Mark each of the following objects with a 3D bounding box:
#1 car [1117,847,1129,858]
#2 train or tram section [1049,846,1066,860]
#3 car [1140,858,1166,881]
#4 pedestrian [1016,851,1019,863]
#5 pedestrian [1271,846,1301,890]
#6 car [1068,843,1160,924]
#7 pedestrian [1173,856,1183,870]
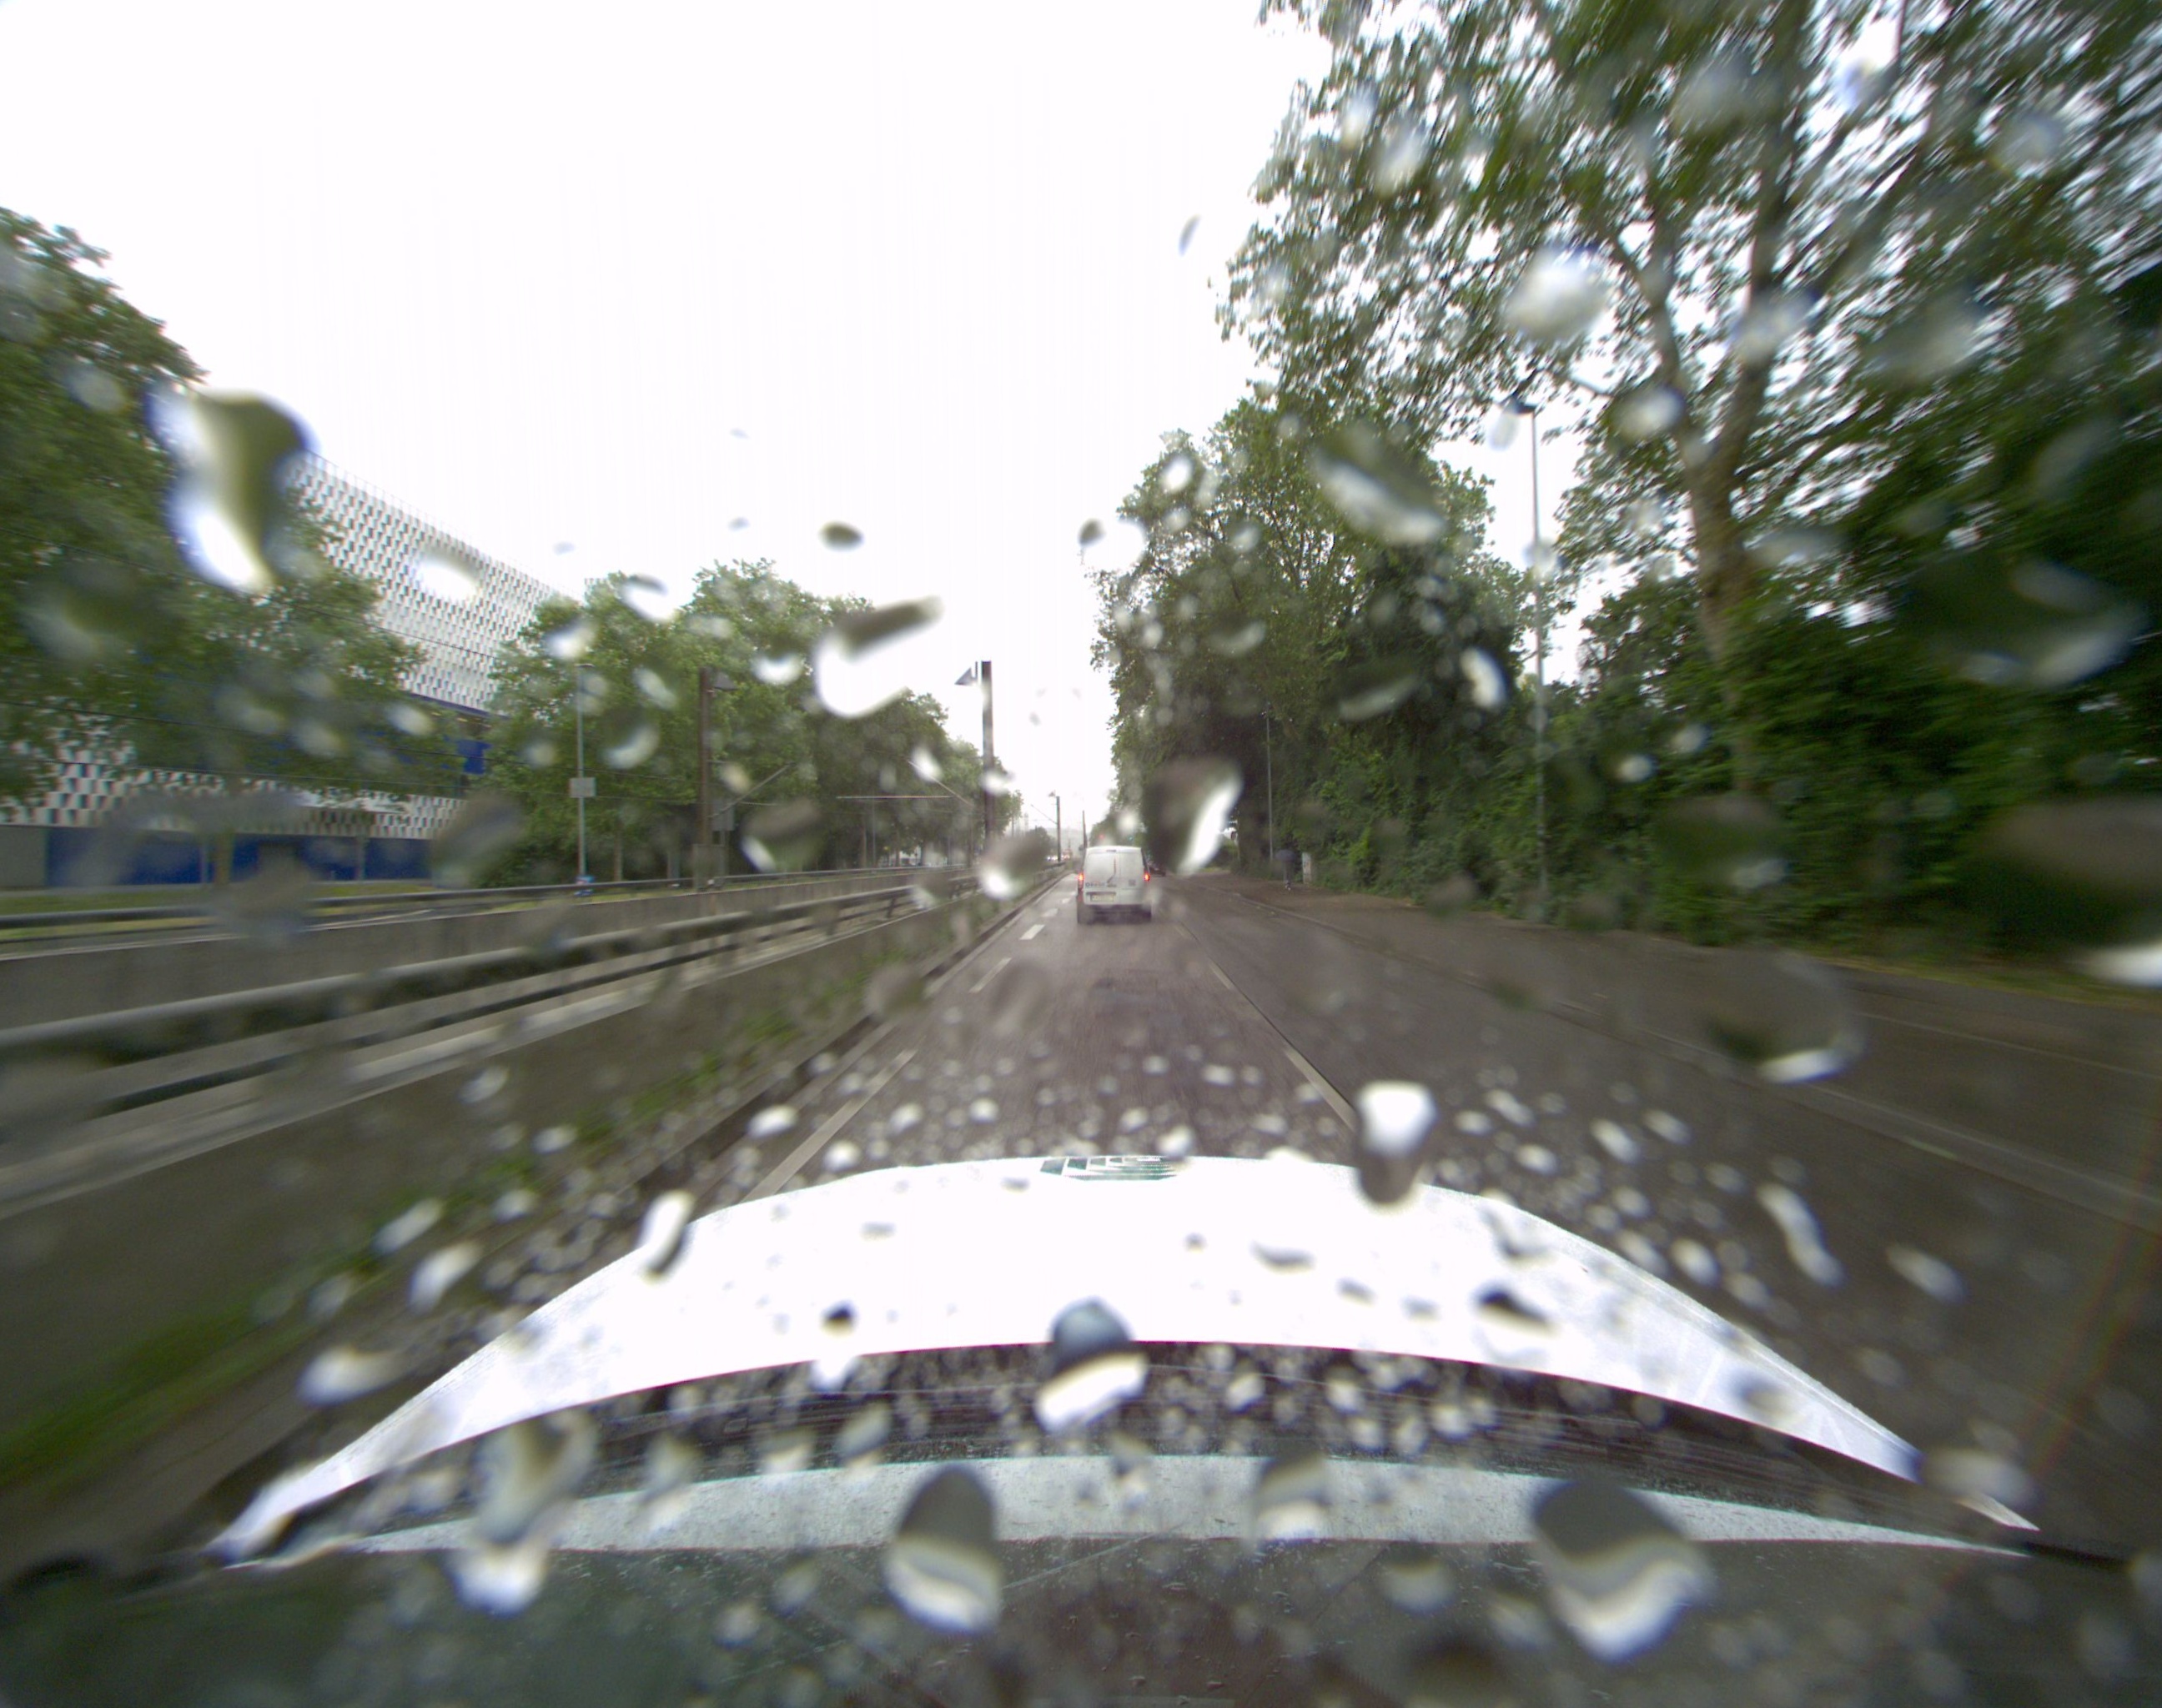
[{"bbox_3d":[7.223,-0.271,140.524,1.986,1.750,4.002,0,0,2],"label":"car"},{"bbox_3d":[-6.822,-0.283,244.962,3.757,4.036,27.096,0,0,1],"label":"train or tram section"},{"bbox_3d":[5.710,1.176,64.499,1.984,1.750,4.005,0,0,5],"label":"car"},{"bbox_3d":[-10.624,0.451,136.408,0.493,2.014,0.580,0,0,-10],"label":"pedestrian"},{"bbox_3d":[8.153,0.535,32.423,0.963,1.702,1.141,1,0,1],"label":"pedestrian"},{"bbox_3d":[0.751,0.659,20.197,2.018,1.775,4.274,0,0,0],"label":"car"},{"bbox_3d":[10.200,0.911,85.821,0.888,1.390,1.017,-3,-1,3],"label":"pedestrian"}]
